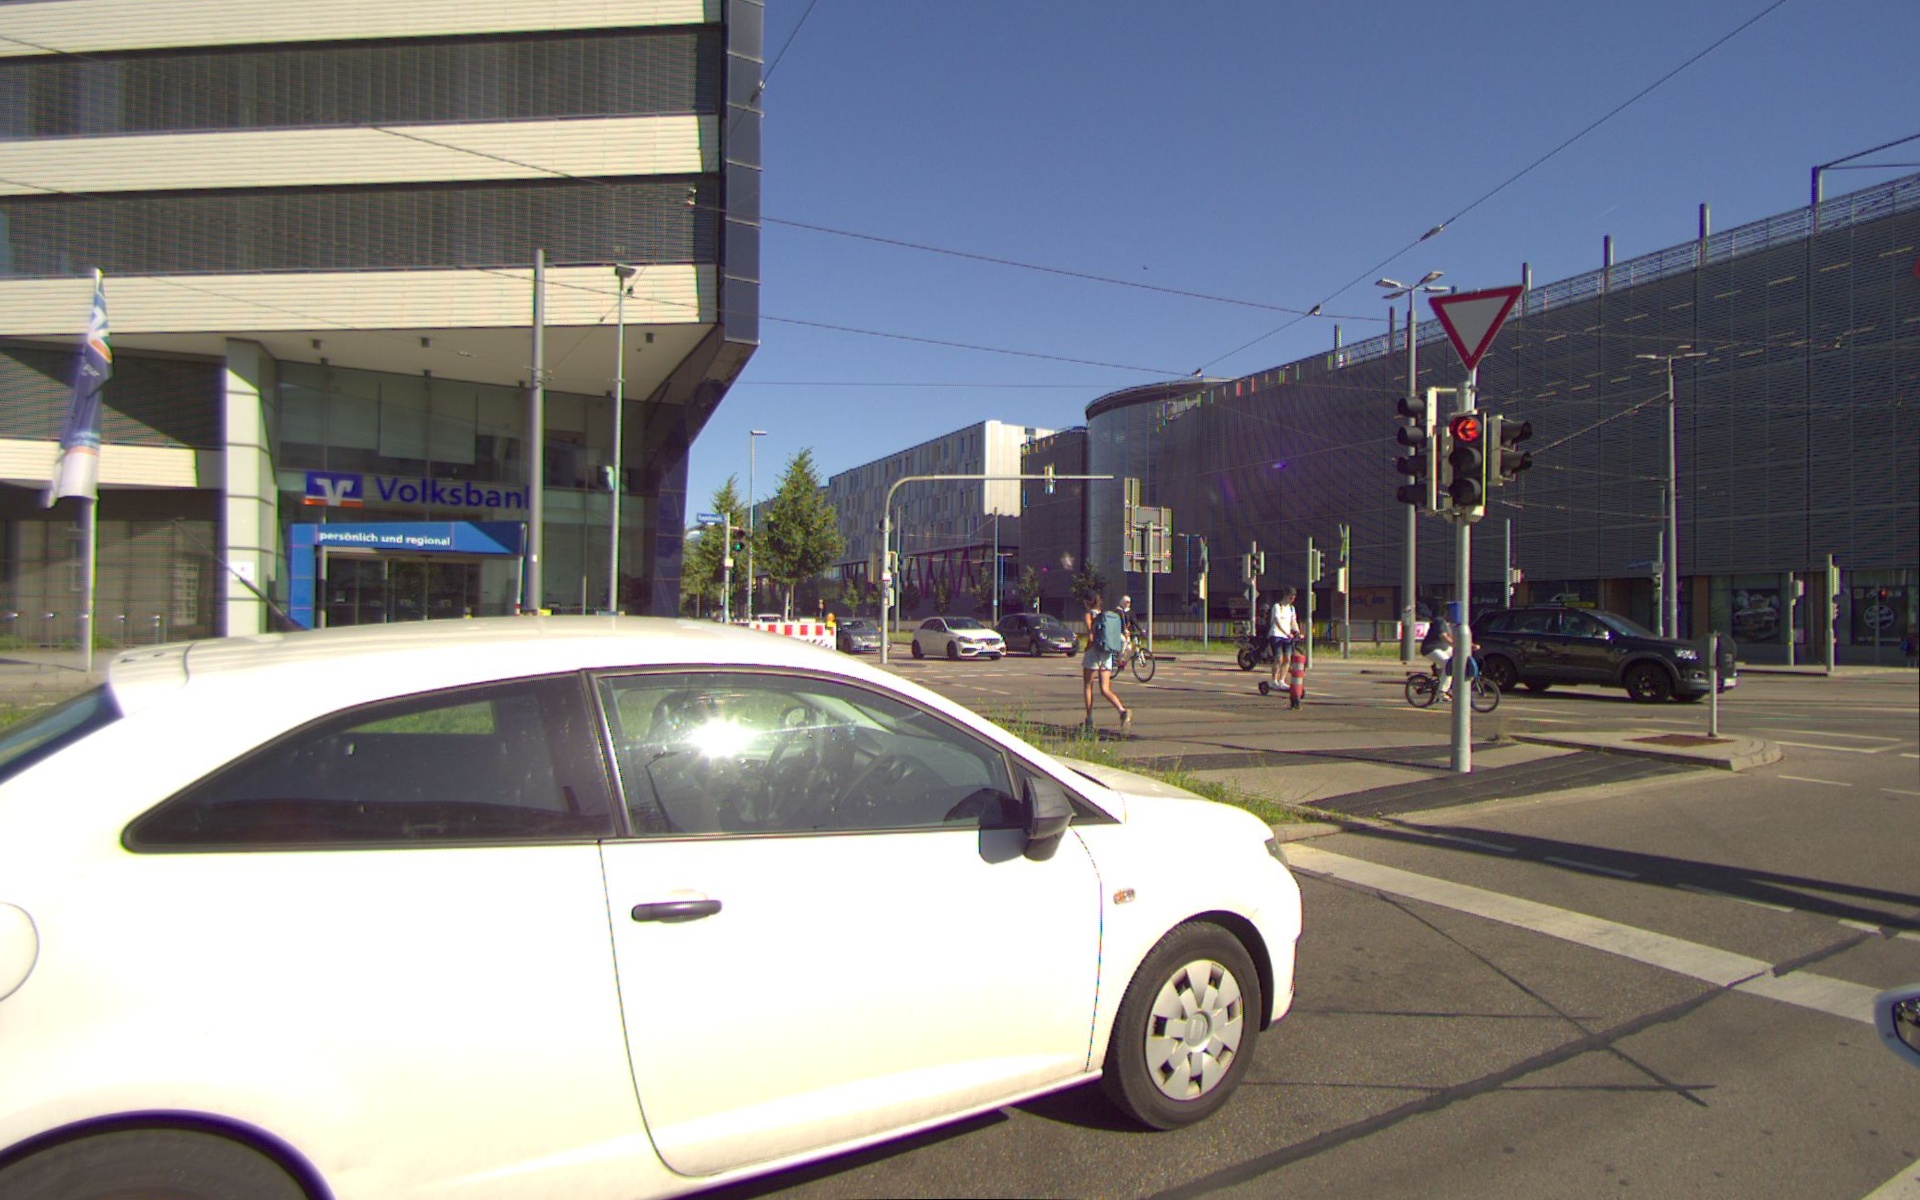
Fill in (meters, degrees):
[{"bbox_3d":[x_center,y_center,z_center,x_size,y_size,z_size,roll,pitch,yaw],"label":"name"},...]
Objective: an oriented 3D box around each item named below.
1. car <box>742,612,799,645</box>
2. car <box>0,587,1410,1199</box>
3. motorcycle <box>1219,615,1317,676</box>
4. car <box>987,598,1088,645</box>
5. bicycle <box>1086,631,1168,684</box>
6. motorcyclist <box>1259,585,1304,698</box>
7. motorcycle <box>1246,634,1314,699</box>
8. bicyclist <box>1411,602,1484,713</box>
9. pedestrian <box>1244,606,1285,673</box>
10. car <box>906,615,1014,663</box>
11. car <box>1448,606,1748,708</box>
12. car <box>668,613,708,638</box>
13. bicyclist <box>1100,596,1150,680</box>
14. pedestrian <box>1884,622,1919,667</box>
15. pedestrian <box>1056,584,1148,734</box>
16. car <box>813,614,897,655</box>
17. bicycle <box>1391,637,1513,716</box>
[{"bbox_3d":[-10.159,1.503,53.521,1.824,1.673,4.221,1,-1,-28],"label":"car"},{"bbox_3d":[-0.635,0.757,2.896,3.738,1.442,1.624,2,1,-30],"label":"car"},{"bbox_3d":[7.916,1.144,25.955,0.904,1.438,2.430,1,0,-31],"label":"motorcycle"},{"bbox_3d":[2.673,0.747,35.397,1.801,1.545,3.736,1,-1,-29],"label":"car"},{"bbox_3d":[3.648,1.234,22.116,0.687,1.050,1.915,1,0,-32],"label":"bicycle"},{"bbox_3d":[5.907,0.752,18.474,0.491,2.040,0.625,1,-1,-30],"label":"motorcyclist"},{"bbox_3d":[5.879,1.208,18.509,0.477,1.136,1.181,1,-1,-30],"label":"motorcycle"},{"bbox_3d":[7.626,0.881,15.721,0.682,1.670,0.778,1,-1,-32],"label":"bicyclist"},{"bbox_3d":[7.854,1.007,25.945,0.657,1.699,0.740,1,0,-30],"label":"pedestrian"},{"bbox_3d":[-0.063,1.250,33.359,1.889,1.483,4.060,1,-1,-28],"label":"car"},{"bbox_3d":[12.182,0.984,19.494,1.820,1.741,4.607,0,0,-34],"label":"car"},{"bbox_3d":[-19.201,1.781,70.711,1.824,1.673,4.221,1,-1,-28],"label":"car"},{"bbox_3d":[3.642,0.841,22.181,0.755,1.812,0.758,1,-1,-33],"label":"bicyclist"},{"bbox_3d":[40.303,1.886,42.976,0.804,1.893,0.906,0,-1,13],"label":"pedestrian"},{"bbox_3d":[1.710,0.693,12.191,0.704,1.730,0.881,1,-1,-30],"label":"pedestrian"},{"bbox_3d":[-4.463,1.424,42.093,1.976,1.637,4.256,1,-1,-30],"label":"car"},{"bbox_3d":[7.652,1.161,15.676,0.726,1.121,1.568,1,-1,-31],"label":"bicycle"}]
